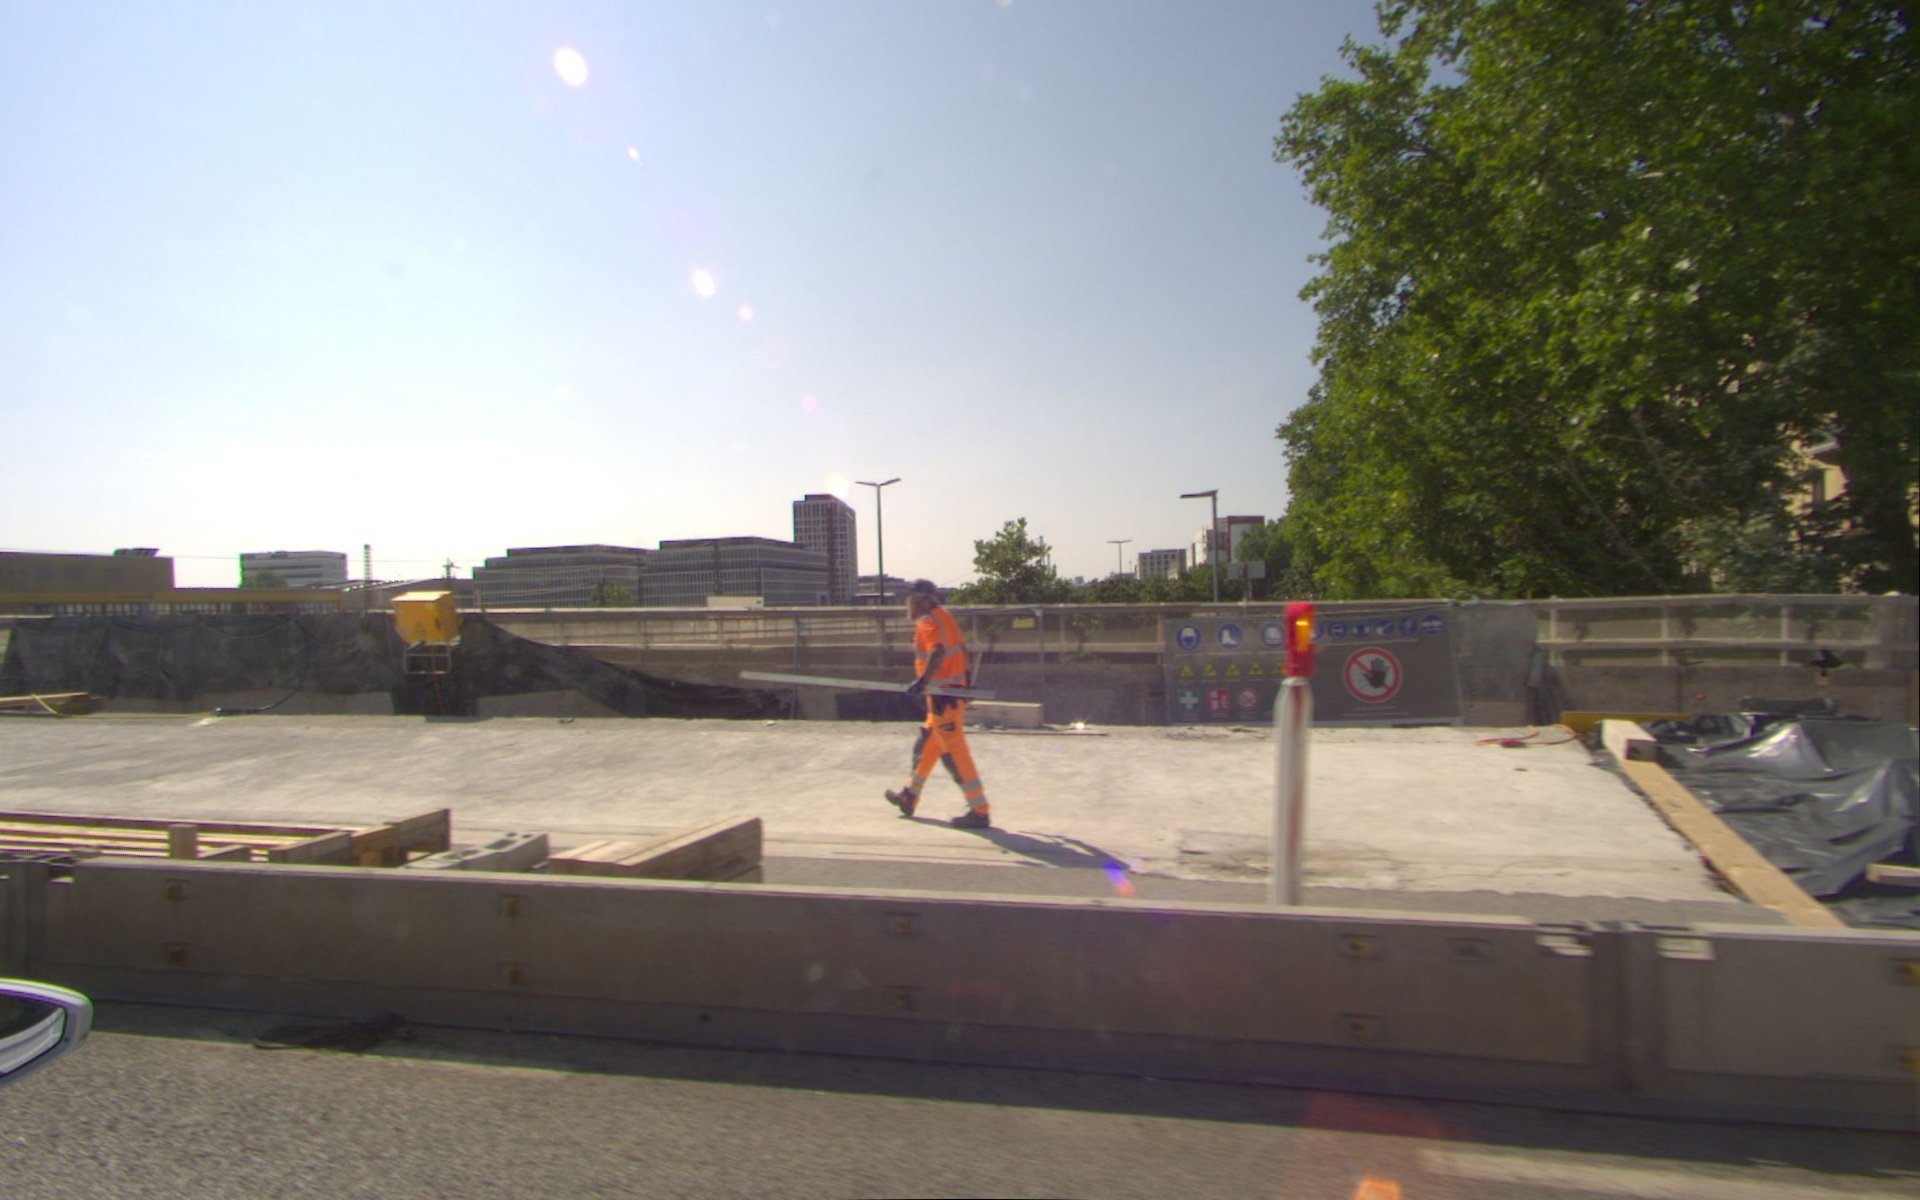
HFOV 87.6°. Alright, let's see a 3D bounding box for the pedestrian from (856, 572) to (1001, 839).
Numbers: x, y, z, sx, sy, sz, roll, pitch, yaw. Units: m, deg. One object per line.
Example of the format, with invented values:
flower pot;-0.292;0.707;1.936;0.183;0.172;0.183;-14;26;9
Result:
pedestrian;-0.200;0.712;7.273;0.848;1.820;0.821;-1;2;12
